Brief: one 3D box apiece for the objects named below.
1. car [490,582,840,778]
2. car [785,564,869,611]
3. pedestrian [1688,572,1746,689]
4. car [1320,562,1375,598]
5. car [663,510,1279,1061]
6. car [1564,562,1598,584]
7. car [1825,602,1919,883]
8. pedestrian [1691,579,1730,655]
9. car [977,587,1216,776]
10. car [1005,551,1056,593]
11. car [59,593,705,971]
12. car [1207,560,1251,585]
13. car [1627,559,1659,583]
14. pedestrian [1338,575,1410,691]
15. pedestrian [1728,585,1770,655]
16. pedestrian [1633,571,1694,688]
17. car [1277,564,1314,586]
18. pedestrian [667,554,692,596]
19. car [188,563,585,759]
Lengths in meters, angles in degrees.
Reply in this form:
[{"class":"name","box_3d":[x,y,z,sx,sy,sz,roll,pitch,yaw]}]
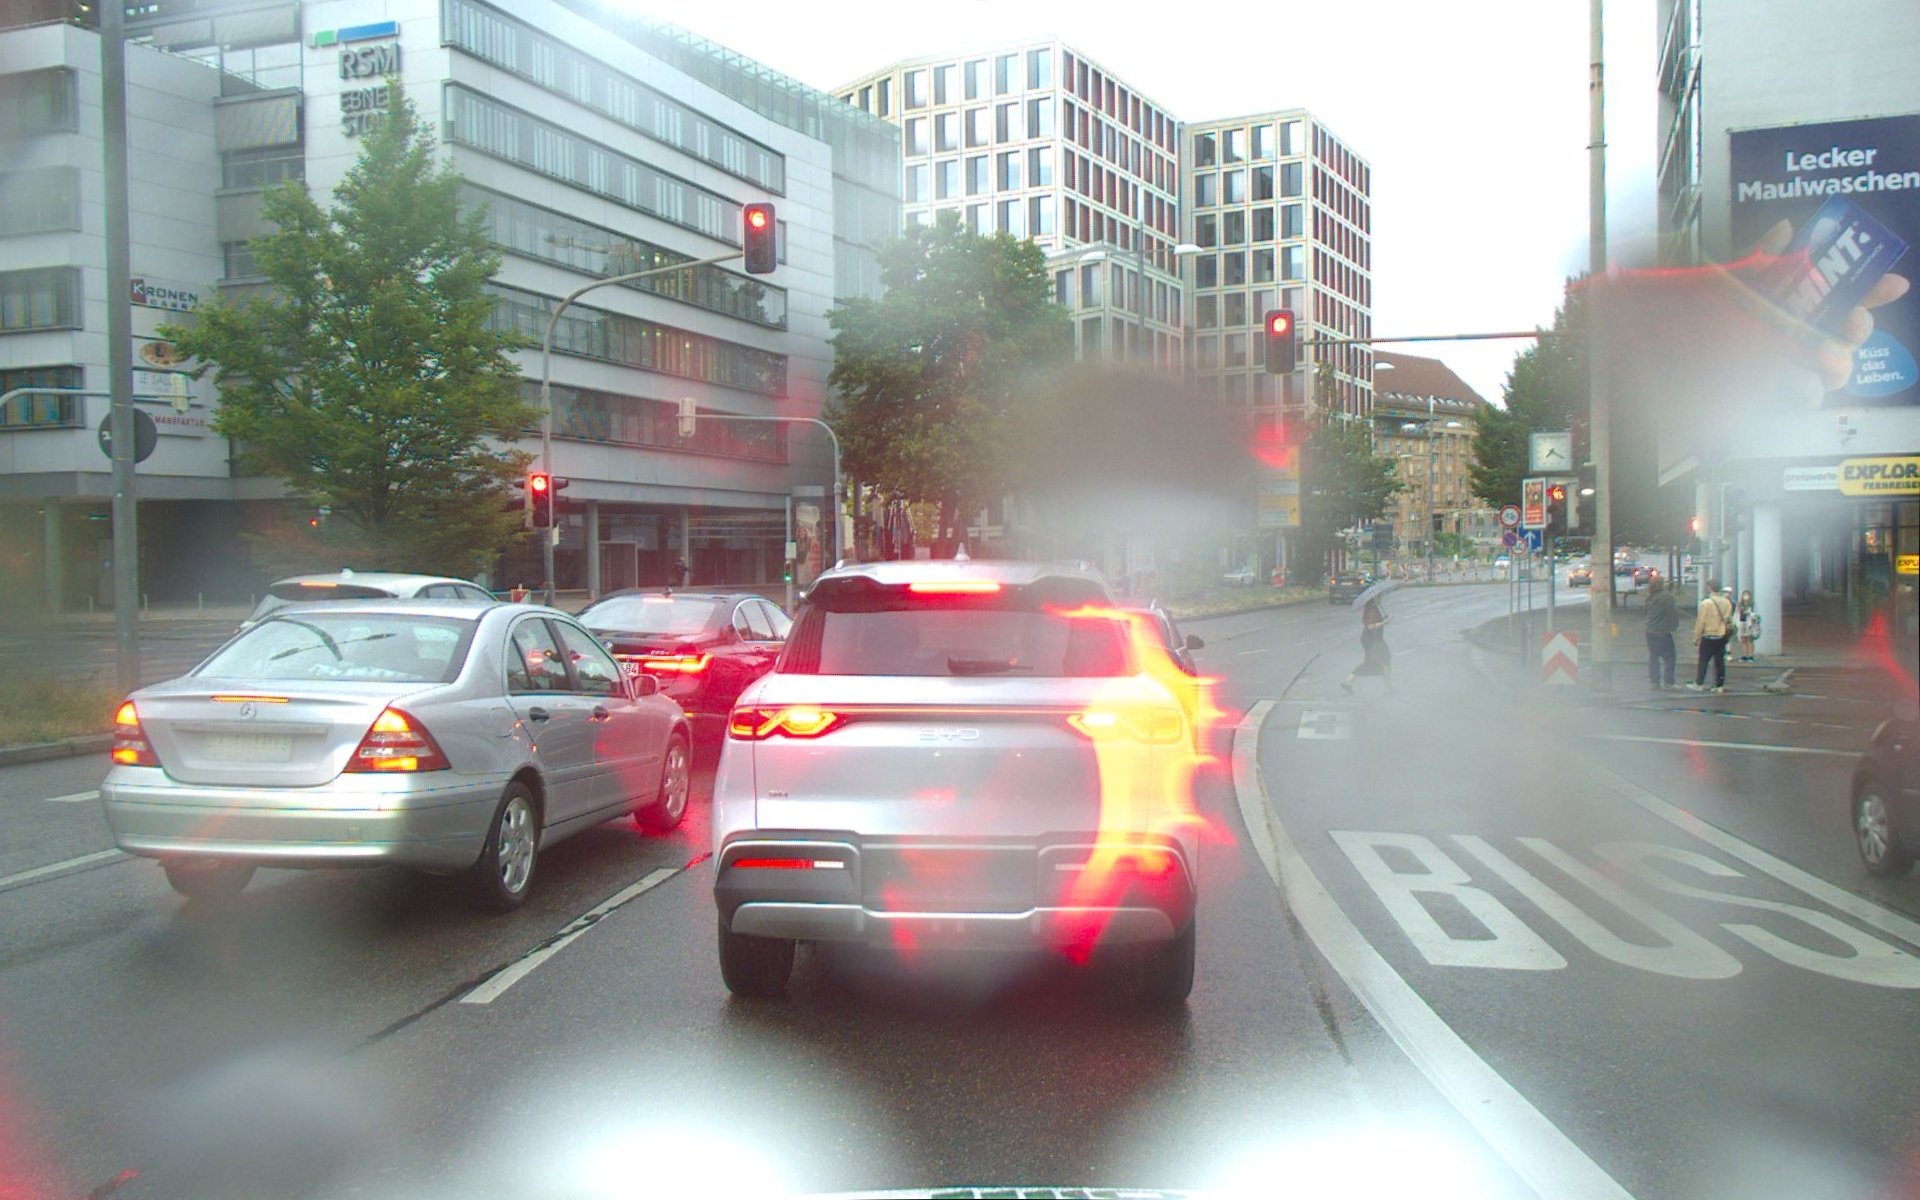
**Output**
[{"class":"car","box_3d":[-2.546,0.619,15.348,1.913,1.557,4.004,0,1,10]},{"class":"car","box_3d":[-5.258,-0.545,65.762,1.952,1.735,4.003,1,2,18]},{"class":"pedestrian","box_3d":[11.973,0.470,26.174,0.712,1.830,0.740,0,0,15]},{"class":"car","box_3d":[17.755,-0.912,75.623,1.952,1.579,4.001,1,1,20]},{"class":"car","box_3d":[0.084,0.571,7.590,1.952,1.739,4.484,-1,1,1]},{"class":"car","box_3d":[45.869,-1.998,122.118,1.873,1.536,4.351,2,1,27]},{"class":"car","box_3d":[5.911,0.782,8.282,1.627,1.498,3.486,0,1,6]},{"class":"pedestrian","box_3d":[17.016,0.385,37.509,0.712,1.698,0.691,0,-1,15]},{"class":"car","box_3d":[1.442,0.663,15.907,1.913,1.557,4.004,0,1,10]},{"class":"car","box_3d":[3.880,-1.500,90.505,1.700,2.199,4.496,1,0,17]},{"class":"car","box_3d":[-2.728,0.735,8.925,1.646,1.512,4.199,0,1,6]},{"class":"car","box_3d":[19.517,-2.023,119.856,1.954,1.735,4.305,1,2,26]},{"class":"car","box_3d":[54.872,-2.318,132.791,2.007,1.796,4.351,2,1,27]},{"class":"pedestrian","box_3d":[6.426,0.501,25.692,0.904,1.768,0.729,0,0,-6]},{"class":"pedestrian","box_3d":[17.735,0.437,37.177,0.712,1.551,0.760,0,-1,15]},{"class":"pedestrian","box_3d":[11.217,0.460,26.382,0.795,1.830,0.711,0,0,15]},{"class":"car","box_3d":[28.161,-2.078,138.759,1.954,1.735,4.305,1,2,26]},{"class":"pedestrian","box_3d":[-11.845,-1.033,69.859,0.712,1.757,0.925,0,0,21]},{"class":"car","box_3d":[-5.314,0.486,15.940,1.844,1.624,4.004,0,1,11]}]
